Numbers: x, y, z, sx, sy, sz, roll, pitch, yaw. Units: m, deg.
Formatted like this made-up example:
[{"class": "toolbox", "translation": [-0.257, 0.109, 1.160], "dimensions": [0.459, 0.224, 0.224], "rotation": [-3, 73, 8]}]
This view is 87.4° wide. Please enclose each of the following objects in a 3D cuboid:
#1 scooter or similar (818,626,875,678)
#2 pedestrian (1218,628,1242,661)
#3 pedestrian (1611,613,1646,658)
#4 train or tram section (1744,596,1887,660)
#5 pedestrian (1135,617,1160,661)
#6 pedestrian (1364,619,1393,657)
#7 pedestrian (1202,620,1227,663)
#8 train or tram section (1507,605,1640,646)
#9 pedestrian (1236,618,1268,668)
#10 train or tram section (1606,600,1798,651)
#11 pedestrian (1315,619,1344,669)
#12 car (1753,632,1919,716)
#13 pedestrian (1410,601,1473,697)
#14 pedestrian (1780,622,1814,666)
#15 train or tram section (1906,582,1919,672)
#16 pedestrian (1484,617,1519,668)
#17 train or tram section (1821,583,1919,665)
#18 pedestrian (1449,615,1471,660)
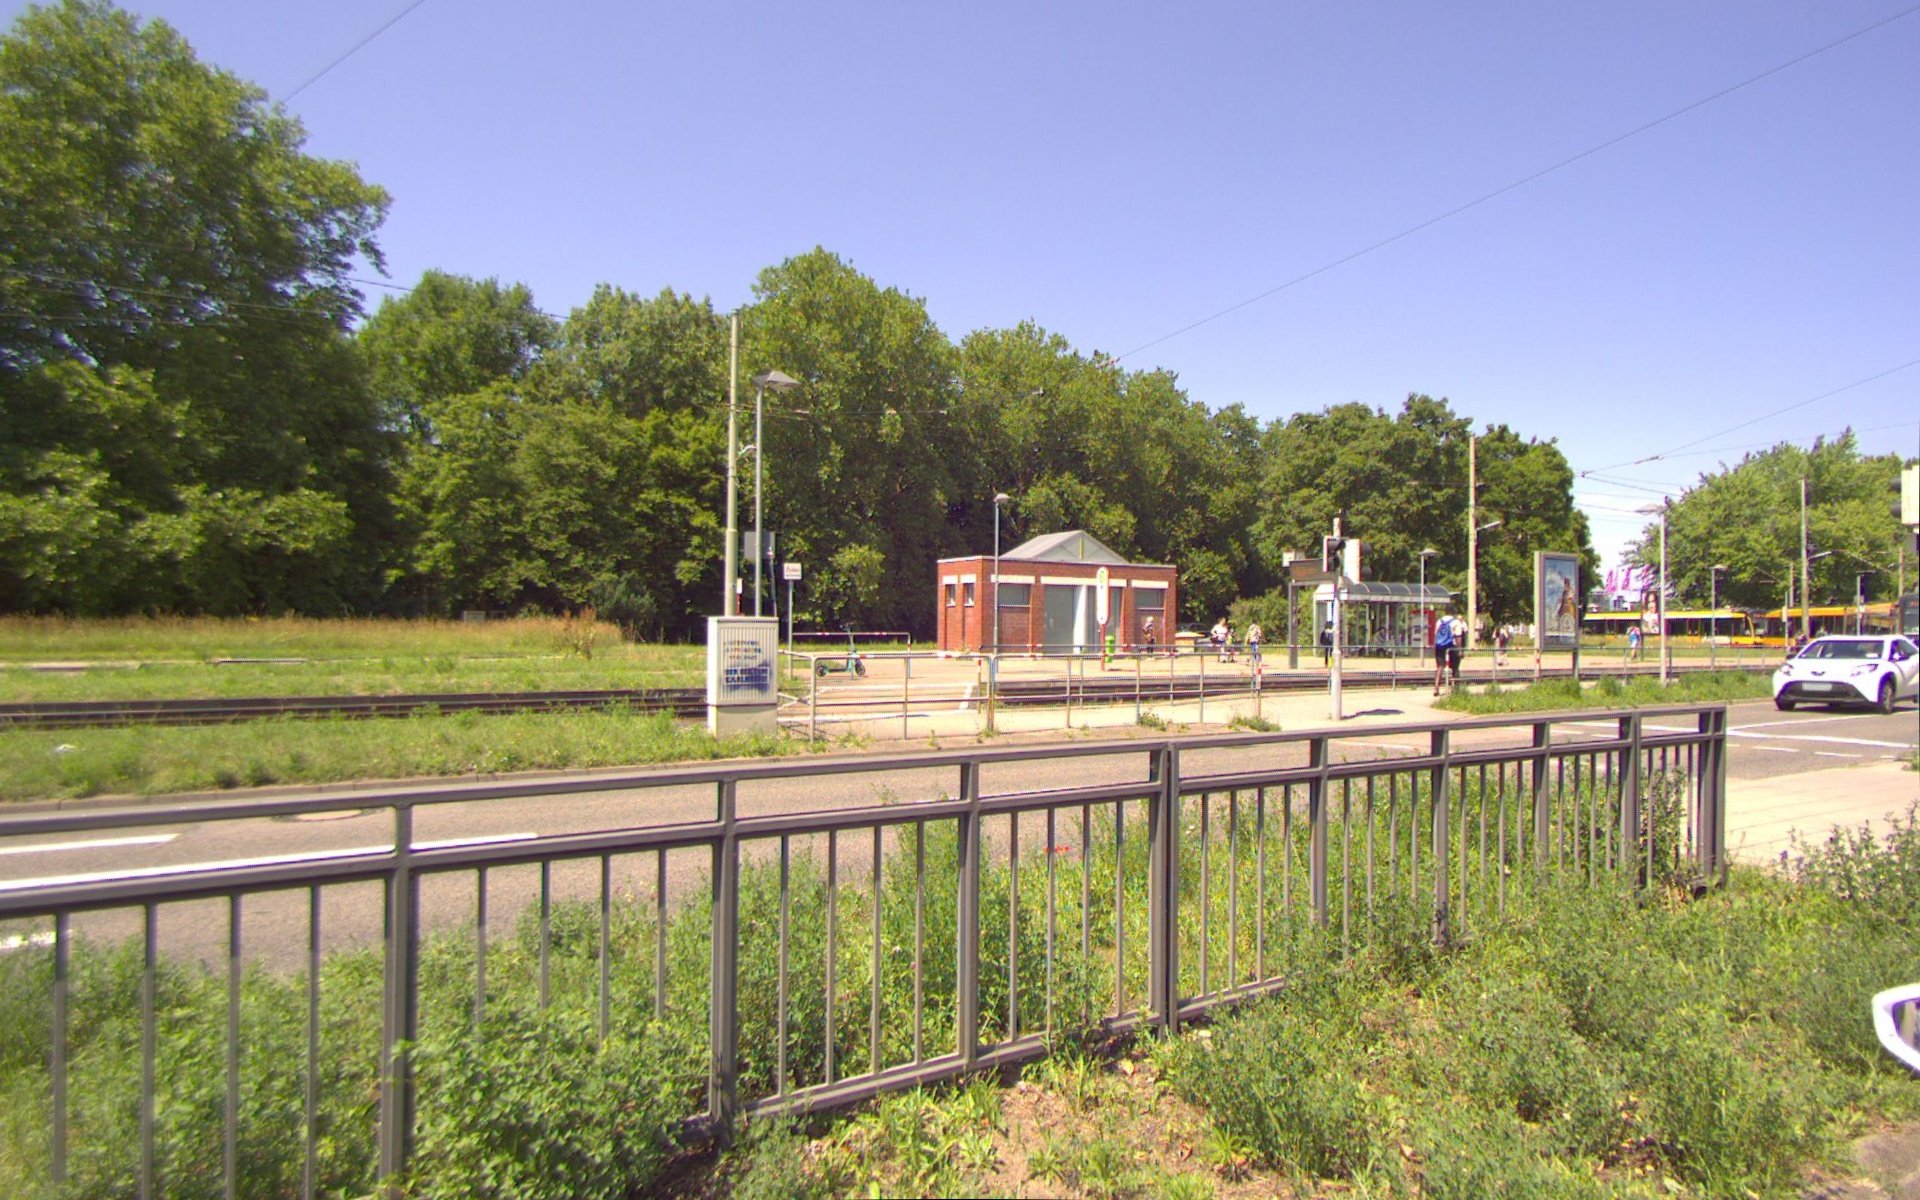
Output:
[{"class": "scooter or similar", "translation": [-2.643, 1.204, 23.445], "dimensions": [1.217, 1.183, 0.508], "rotation": [1, -1, -30]}, {"class": "pedestrian", "translation": [9.436, 1.557, 35.161], "dimensions": [0.560, 1.139, 0.639], "rotation": [1, -1, -15]}, {"class": "pedestrian", "translation": [30.740, 1.610, 46.190], "dimensions": [1.009, 2.040, 0.976], "rotation": [1, -1, -30]}, {"class": "train or tram section", "translation": [60.903, 1.975, 72.243], "dimensions": [3.165, 3.984, 18.483], "rotation": [0, -1, 26]}, {"class": "pedestrian", "translation": [6.532, 1.363, 35.032], "dimensions": [0.563, 1.499, 0.636], "rotation": [1, -1, -30]}, {"class": "pedestrian", "translation": [17.238, 1.574, 41.370], "dimensions": [0.710, 1.531, 0.841], "rotation": [1, -1, -19]}, {"class": "pedestrian", "translation": [8.752, 1.415, 34.585], "dimensions": [0.573, 1.476, 0.639], "rotation": [1, -1, -15]}, {"class": "train or tram section", "translation": [64.756, 2.694, 107.022], "dimensions": [3.162, 3.984, 18.504], "rotation": [1, -1, 1]}, {"class": "pedestrian", "translation": [9.609, 1.405, 33.069], "dimensions": [0.799, 1.611, 0.668], "rotation": [1, -1, -30]}, {"class": "train or tram section", "translation": [64.599, 2.183, 88.659], "dimensions": [3.162, 3.984, 18.501], "rotation": [1, -1, -1]}, {"class": "pedestrian", "translation": [11.919, 1.398, 32.375], "dimensions": [0.688, 1.575, 0.629], "rotation": [1, -1, -42]}, {"class": "car", "translation": [18.034, 1.436, 20.388], "dimensions": [3.747, 1.514, 1.836], "rotation": [1, -1, -30]}, {"class": "pedestrian", "translation": [9.517, 0.951, 19.865], "dimensions": [0.832, 1.802, 0.714], "rotation": [-1, 5, -30]}, {"class": "pedestrian", "translation": [39.761, 2.098, 47.721], "dimensions": [1.009, 2.040, 0.976], "rotation": [1, -1, -30]}, {"class": "train or tram section", "translation": [53.697, 1.426, 49.192], "dimensions": [29.688, 3.799, 2.943], "rotation": [1, -1, -31]}, {"class": "pedestrian", "translation": [20.027, 1.550, 37.150], "dimensions": [0.832, 1.802, 0.714], "rotation": [-1, 5, -30]}, {"class": "train or tram section", "translation": [51.545, 1.392, 56.401], "dimensions": [3.173, 3.984, 18.438], "rotation": [0, -1, 35]}, {"class": "pedestrian", "translation": [20.914, 1.562, 42.031], "dimensions": [0.707, 1.824, 0.845], "rotation": [0, -1, 17]}]
